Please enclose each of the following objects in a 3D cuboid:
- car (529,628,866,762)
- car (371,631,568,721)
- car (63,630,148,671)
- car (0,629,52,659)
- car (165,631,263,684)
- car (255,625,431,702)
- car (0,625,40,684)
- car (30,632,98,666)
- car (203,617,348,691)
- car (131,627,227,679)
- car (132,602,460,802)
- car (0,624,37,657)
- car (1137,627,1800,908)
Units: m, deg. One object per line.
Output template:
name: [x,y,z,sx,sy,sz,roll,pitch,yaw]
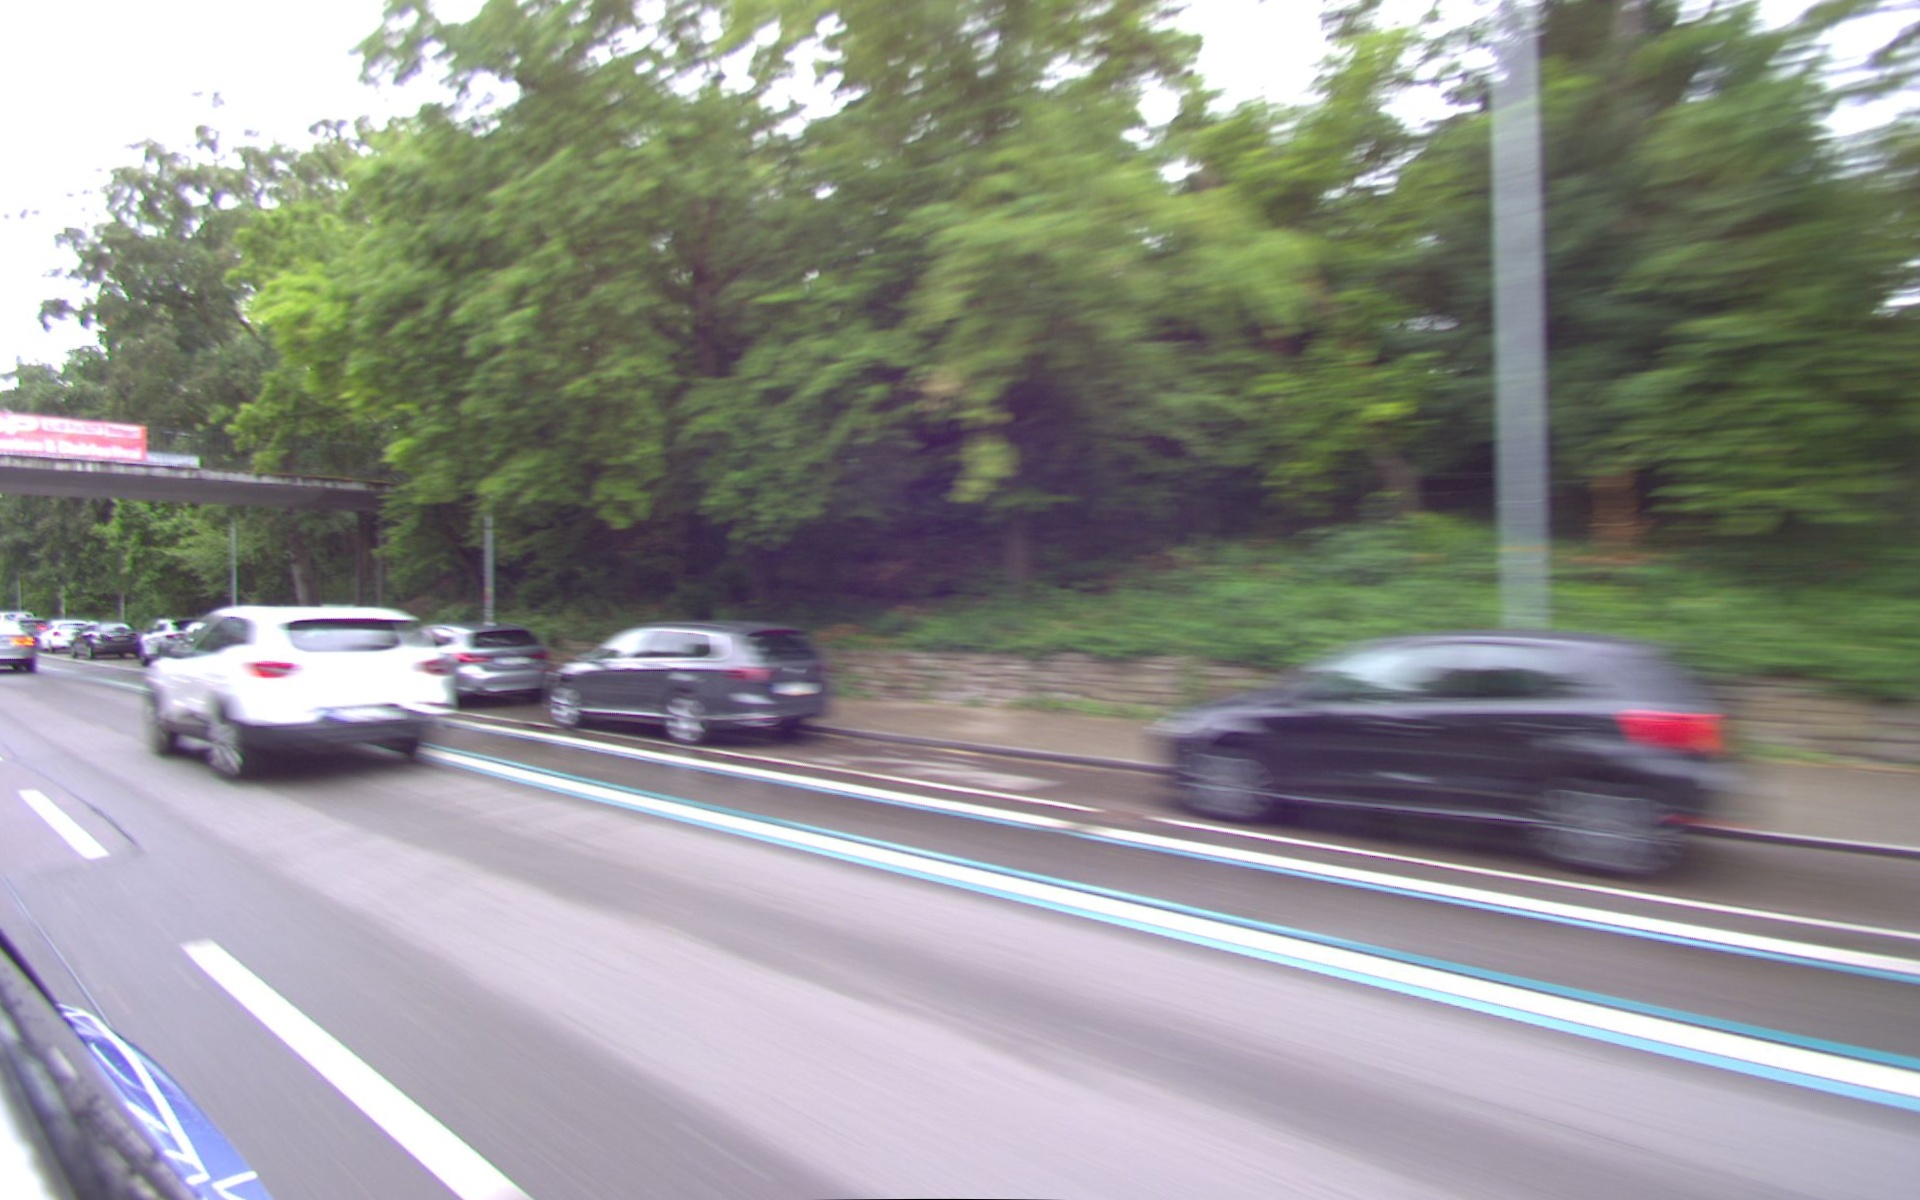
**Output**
car: [-3.613,1.119,13.445,4.752,1.474,1.936,-2,-2,40]
car: [-9.072,1.320,18.554,4.294,1.434,1.765,-2,-2,42]
car: [-33.609,1.968,39.789,4.035,1.488,1.813,-2,-2,39]
car: [-53.855,2.538,58.073,4.776,1.618,1.989,-2,-2,41]
car: [-22.211,1.672,30.081,3.842,1.450,1.592,-2,-2,42]
car: [-13.920,1.368,22.693,4.894,1.484,1.963,-2,-1,41]
car: [-27.494,1.503,28.473,4.619,1.572,1.901,-1,-3,42]
car: [-41.459,2.265,46.796,3.979,1.493,1.771,-2,-2,40]
car: [-18.093,1.383,26.653,4.835,1.755,1.970,-2,-2,41]
car: [-25.543,1.707,33.064,4.230,1.558,1.670,-2,-2,41]
car: [-6.982,0.922,10.484,4.127,1.664,1.777,-2,-3,41]
car: [-60.480,2.569,64.196,5.010,2.020,1.955,-2,-1,37]
car: [3.445,0.945,7.304,3.990,1.468,1.653,-2,-2,41]
